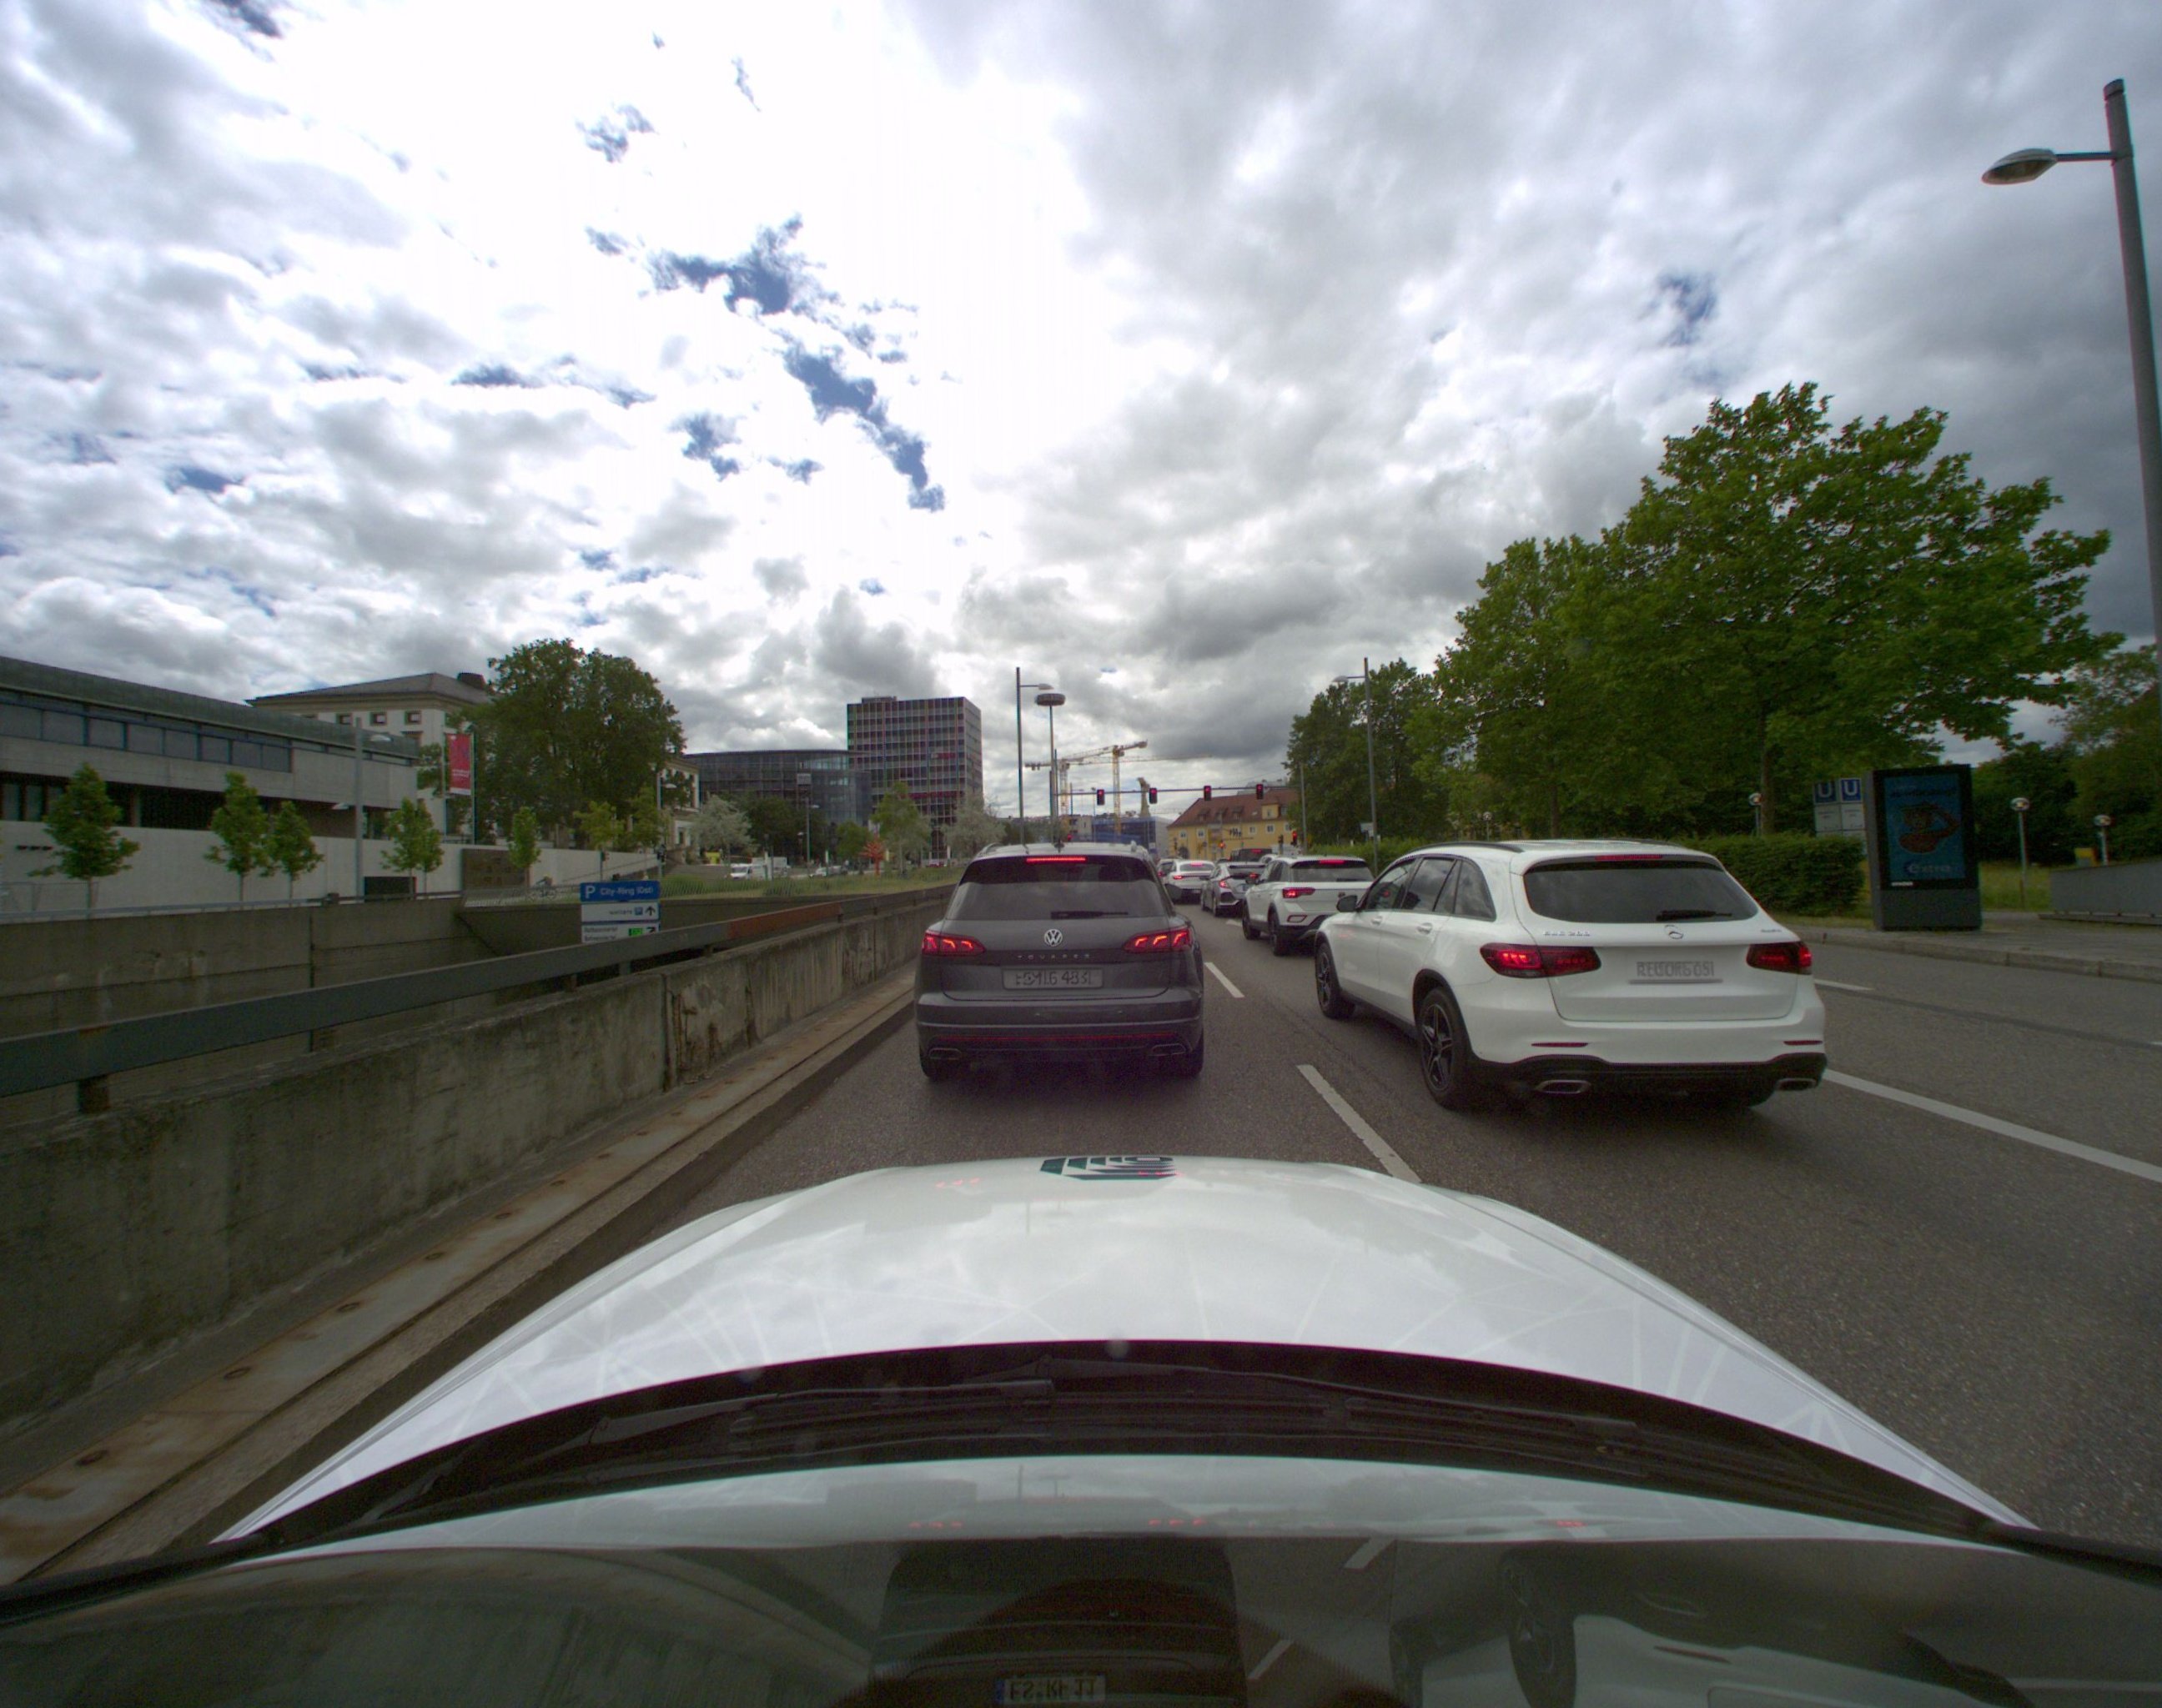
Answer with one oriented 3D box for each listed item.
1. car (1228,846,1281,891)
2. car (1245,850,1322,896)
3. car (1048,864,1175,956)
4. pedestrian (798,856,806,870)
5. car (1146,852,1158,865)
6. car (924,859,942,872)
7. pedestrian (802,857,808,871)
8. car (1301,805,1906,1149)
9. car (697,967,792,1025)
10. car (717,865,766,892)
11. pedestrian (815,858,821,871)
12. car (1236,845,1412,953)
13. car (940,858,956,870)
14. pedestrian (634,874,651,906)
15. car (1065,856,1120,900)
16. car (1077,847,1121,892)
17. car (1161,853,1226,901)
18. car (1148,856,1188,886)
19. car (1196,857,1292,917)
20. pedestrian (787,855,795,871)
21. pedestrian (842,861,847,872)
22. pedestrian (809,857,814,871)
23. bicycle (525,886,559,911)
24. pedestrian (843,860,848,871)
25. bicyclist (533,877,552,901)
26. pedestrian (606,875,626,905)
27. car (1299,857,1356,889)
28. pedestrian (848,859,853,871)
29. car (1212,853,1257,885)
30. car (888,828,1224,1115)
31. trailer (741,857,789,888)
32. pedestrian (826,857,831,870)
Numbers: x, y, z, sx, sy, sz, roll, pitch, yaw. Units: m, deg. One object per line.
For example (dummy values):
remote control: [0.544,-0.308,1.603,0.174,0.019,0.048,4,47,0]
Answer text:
car: [8.257,0.683,39.055,1.902,2.014,4.014,0,-1,3]
car: [7.897,0.697,32.196,1.987,1.640,4.305,-1,1,1]
car: [0.528,0.880,14.505,1.944,1.384,3.932,0,0,1]
pedestrian: [-40.687,1.322,118.663,0.735,2.013,0.793,-2,1,2]
car: [9.695,0.621,111.411,1.612,1.627,4.002,0,-2,3]
car: [-24.621,1.921,135.766,1.987,2.013,4.692,-2,1,0]
pedestrian: [-43.060,1.547,127.105,0.741,2.013,0.914,-2,1,-22]
car: [3.157,0.618,6.246,1.918,1.653,4.493,-1,0,3]
car: [-18.582,7.794,45.353,2.610,2.311,5.936,0,-2,2]
car: [-28.833,2.038,69.274,1.985,2.013,4.695,-2,1,3]
pedestrian: [-41.349,1.577,127.888,0.741,2.013,1.076,-2,1,-20]
car: [3.960,0.697,14.105,1.918,1.551,4.493,-1,-1,3]
car: [-24.487,1.750,149.940,1.986,2.013,4.693,-2,1,1]
pedestrian: [-28.642,2.352,53.223,0.864,2.013,0.624,-2,1,-25]
car: [0.476,0.873,31.148,1.944,1.600,3.932,0,0,1]
car: [0.871,0.710,38.680,1.944,2.018,3.932,0,0,1]
car: [3.904,0.793,28.962,1.918,1.529,4.493,-1,-1,3]
car: [4.654,0.925,44.061,1.918,1.529,4.050,-1,-1,3]
car: [4.317,0.851,22.221,1.918,1.432,4.493,-1,-1,3]
pedestrian: [-38.810,1.183,108.968,0.736,2.014,0.792,-2,-3,0]
pedestrian: [-43.715,2.357,150.481,0.741,2.013,0.787,-2,1,-21]
pedestrian: [-42.044,1.548,126.991,0.740,2.013,0.915,-2,1,-18]
bicycle: [-35.692,2.935,54.005,0.723,1.536,2.190,0,-2,1]
pedestrian: [-41.615,2.036,143.806,0.739,2.013,0.789,-2,1,-14]
bicyclist: [-35.655,2.322,53.939,0.728,1.554,0.776,0,-2,1]
pedestrian: [-31.640,2.435,55.403,0.831,2.013,0.793,-2,0,0]
car: [12.010,0.934,39.954,1.921,1.460,4.535,0,-1,7]
pedestrian: [-40.692,1.913,144.068,0.739,2.013,0.789,-2,1,-14]
car: [8.339,0.818,44.635,1.902,1.697,4.014,0,-1,3]
car: [-0.094,0.704,6.780,1.944,1.651,4.001,-1,0,1]
trailer: [-28.797,1.628,74.390,2.030,2.604,5.511,0,0,2]
pedestrian: [-40.233,1.520,129.829,0.739,2.013,0.789,-2,1,-14]
